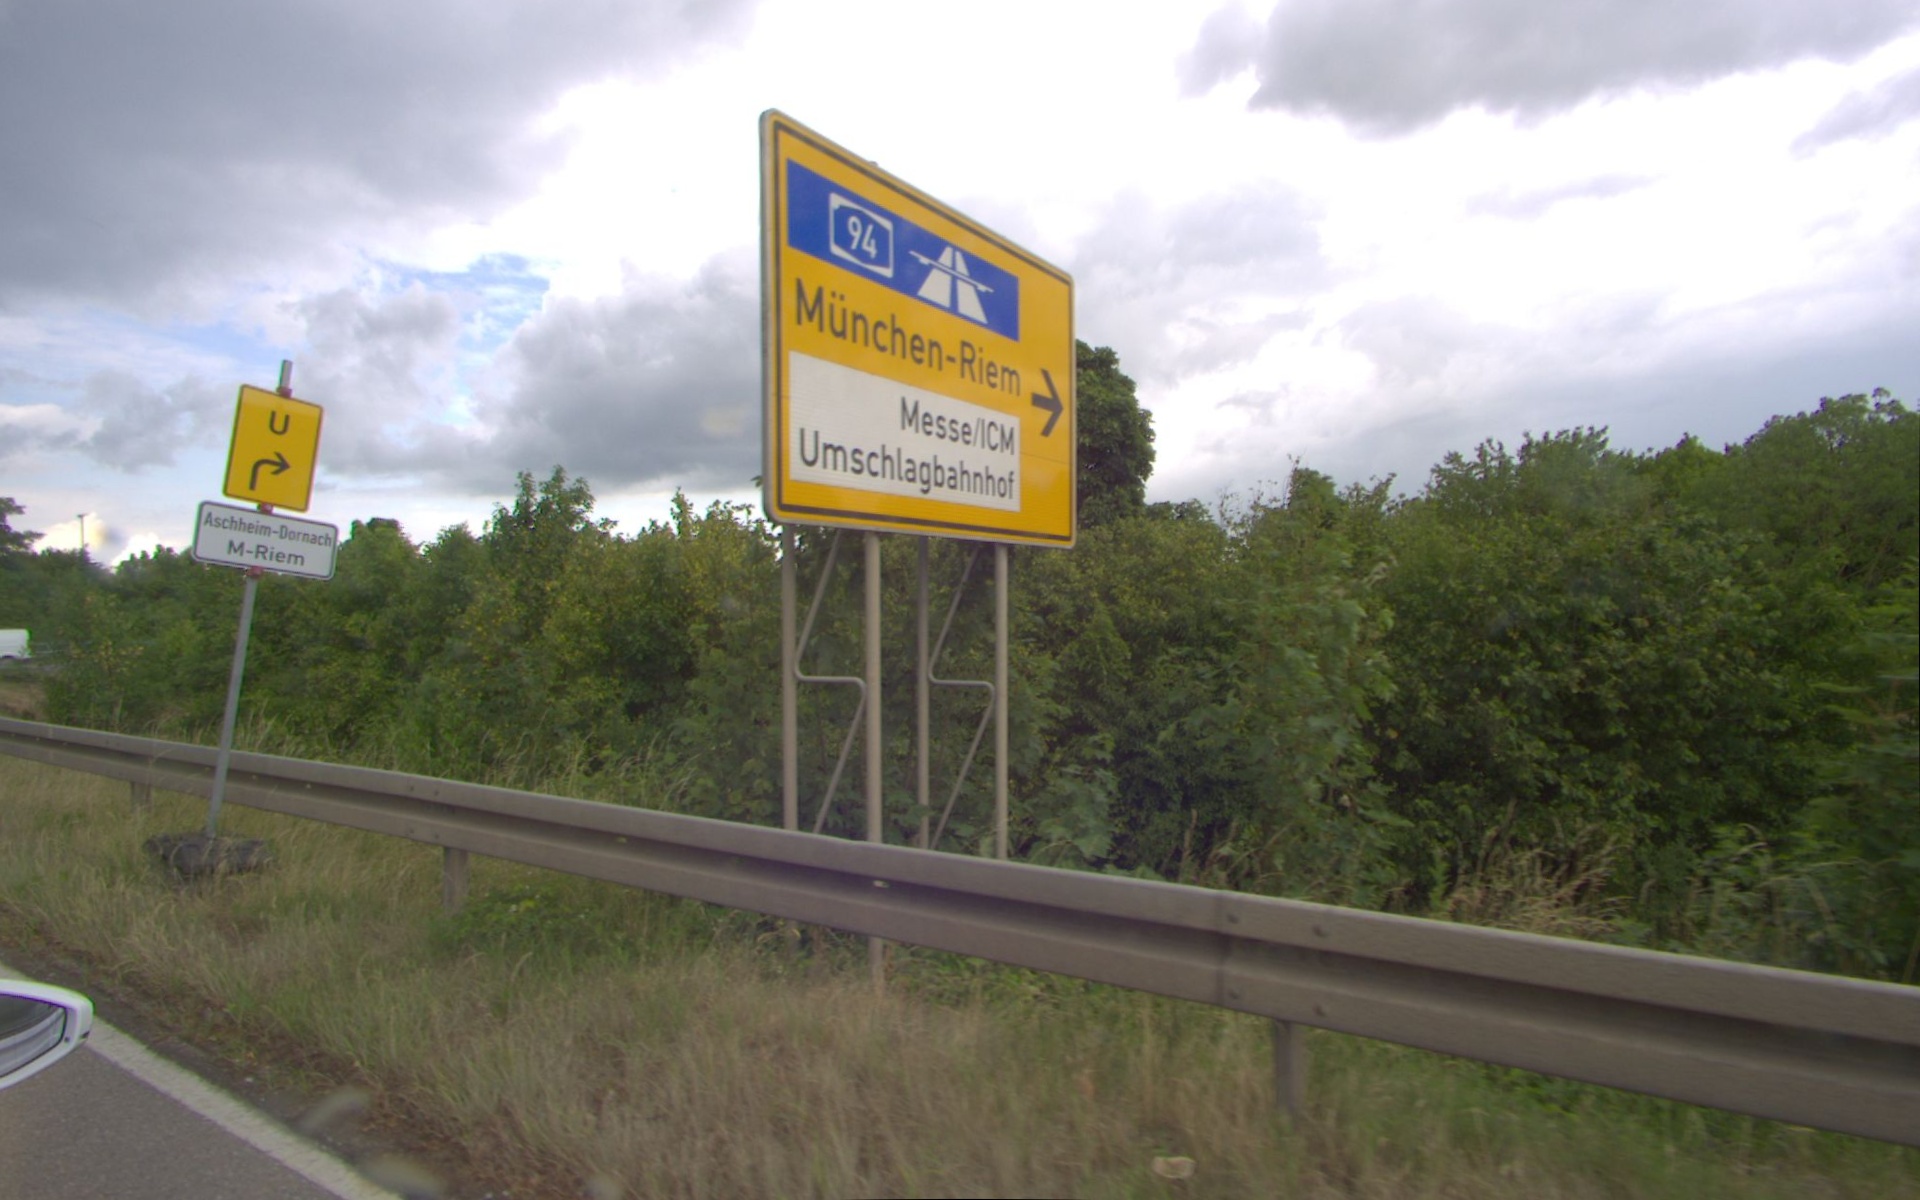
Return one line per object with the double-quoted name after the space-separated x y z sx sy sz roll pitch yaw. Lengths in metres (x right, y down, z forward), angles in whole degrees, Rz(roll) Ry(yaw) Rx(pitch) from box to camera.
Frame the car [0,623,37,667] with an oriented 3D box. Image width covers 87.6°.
-47.685 2.151 48.043 2.065 2.091 4.835 -1 -2 43 "car"
